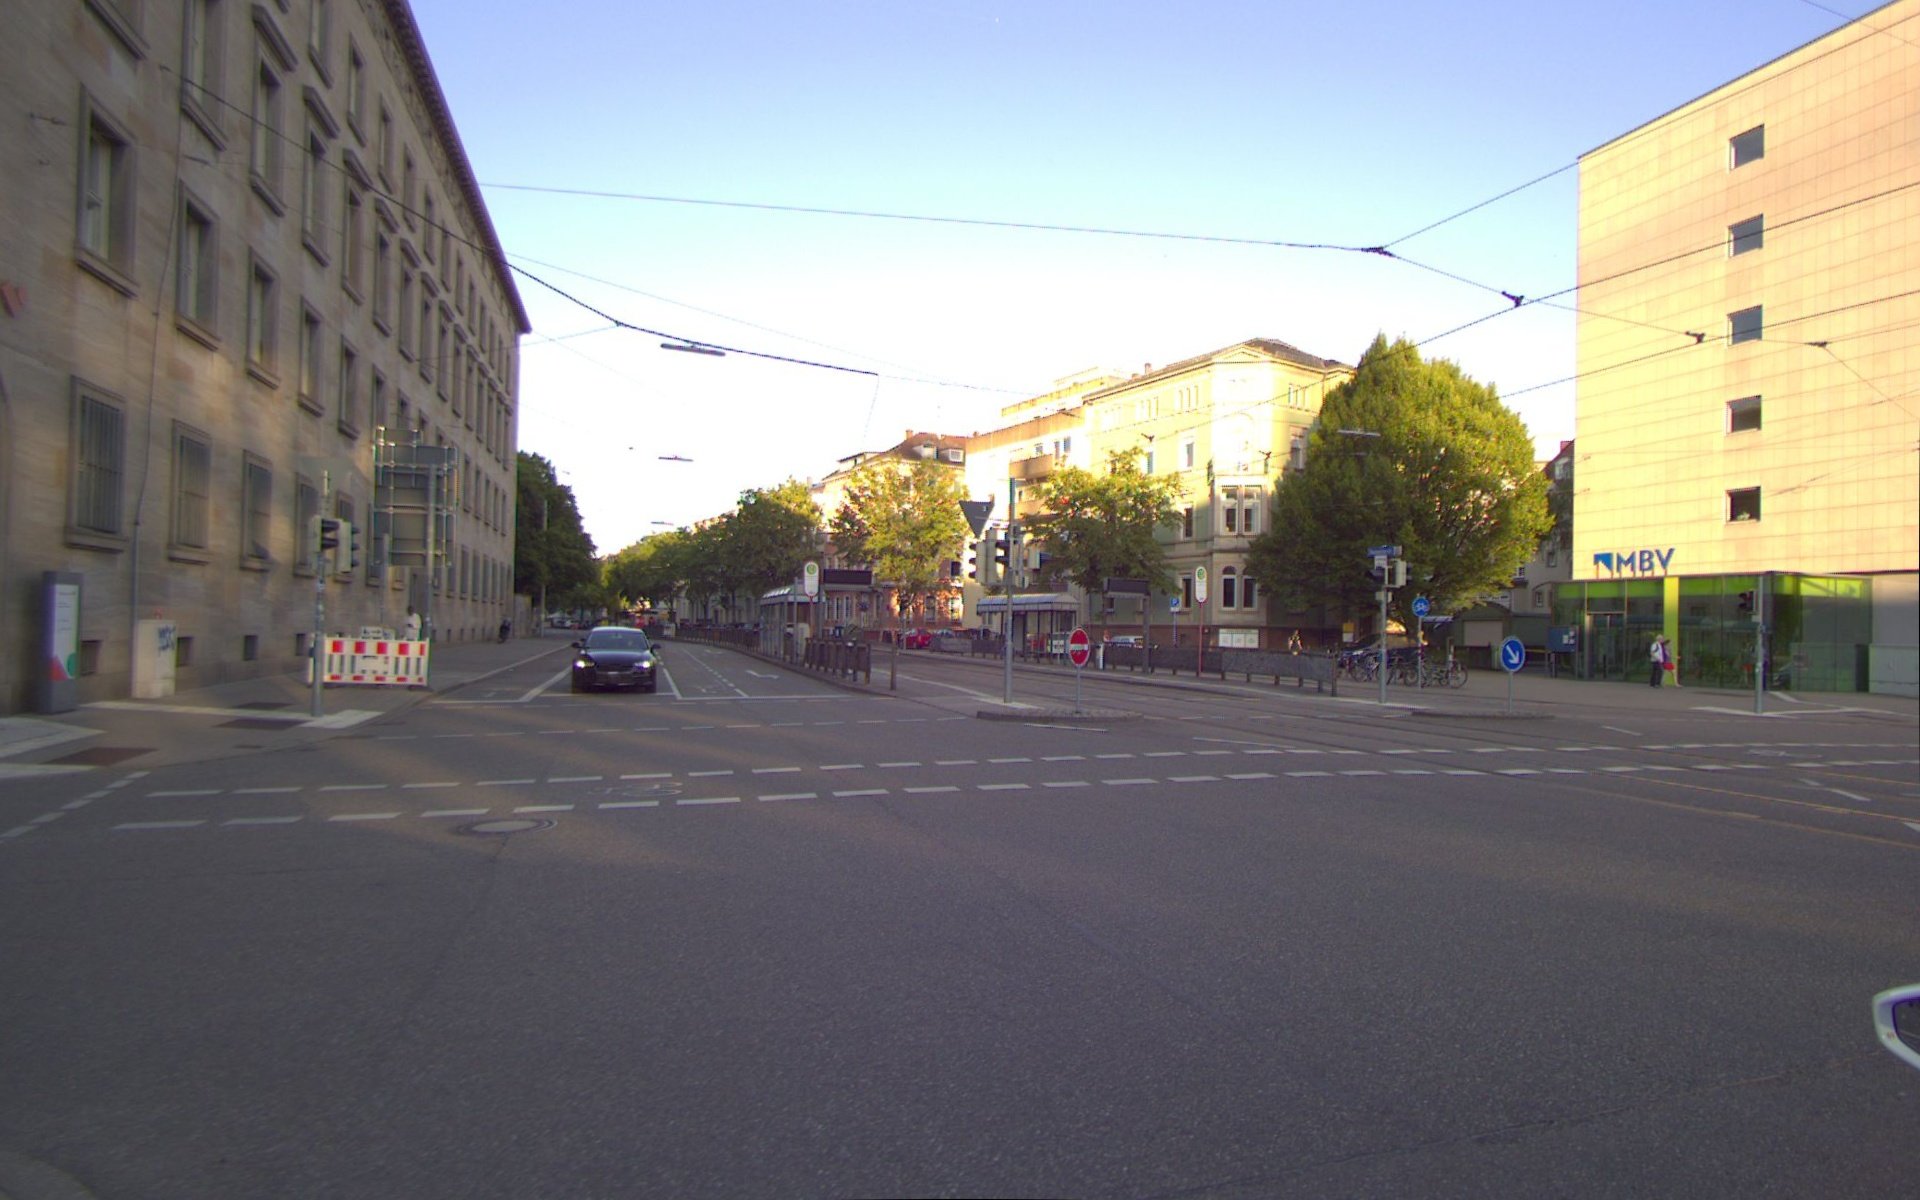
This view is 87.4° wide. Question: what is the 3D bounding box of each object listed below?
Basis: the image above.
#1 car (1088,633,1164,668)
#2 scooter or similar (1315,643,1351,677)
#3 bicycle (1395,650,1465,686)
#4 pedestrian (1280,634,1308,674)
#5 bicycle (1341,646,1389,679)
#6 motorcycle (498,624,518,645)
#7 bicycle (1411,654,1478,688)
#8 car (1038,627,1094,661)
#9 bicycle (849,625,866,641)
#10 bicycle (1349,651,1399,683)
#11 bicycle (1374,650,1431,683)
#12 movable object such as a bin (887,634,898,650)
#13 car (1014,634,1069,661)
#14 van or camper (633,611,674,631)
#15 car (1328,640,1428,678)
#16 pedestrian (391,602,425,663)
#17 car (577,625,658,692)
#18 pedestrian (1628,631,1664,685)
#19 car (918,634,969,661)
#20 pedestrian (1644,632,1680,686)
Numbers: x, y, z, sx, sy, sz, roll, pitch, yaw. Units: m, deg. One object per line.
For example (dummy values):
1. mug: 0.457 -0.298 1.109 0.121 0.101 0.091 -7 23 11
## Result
1. car: 8.302 2.515 50.509 1.665 1.573 3.970 -1 0 -29
2. scooter or similar: 14.270 2.288 38.428 1.184 1.241 0.589 0 -1 -18
3. bicycle: 15.812 2.274 33.795 2.201 1.147 0.741 1 -1 -17
4. pedestrian: 15.290 2.465 45.960 0.701 1.791 0.980 2 -2 -33
5. bicycle: 15.031 2.318 37.295 1.506 1.178 0.742 2 -2 -17
6. motorcycle: -25.243 1.916 56.114 0.689 1.089 2.643 1 -2 -18
7. bicycle: 15.774 2.304 32.700 1.829 1.089 0.744 0 -2 -1
8. car: 6.061 2.514 57.062 1.690 1.747 4.205 3 -1 27
9. bicycle: -8.762 2.812 85.752 0.590 1.283 1.917 0 -2 24
10. bicycle: 14.820 2.396 35.970 1.531 1.089 0.742 2 -2 -17
11. bicycle: 15.230 2.298 34.566 1.732 1.089 0.742 2 -2 -17
12. movable object such as a bin: -5.133 3.202 76.347 0.704 1.169 0.586 2 -2 -19
13. car: 4.823 2.803 59.097 1.616 1.473 4.204 0 -2 29
14. van or camper: -41.672 2.810 136.679 2.047 2.564 5.545 -1 0 24
15. car: 18.741 2.639 45.047 3.934 1.594 1.796 2 -2 -19
16. pedestrian: -16.123 0.952 29.363 0.686 1.732 0.644 2 -2 -15
17. car: -8.148 1.344 24.042 1.622 1.446 4.216 2 -2 -18
18. pedestrian: 22.969 1.928 33.647 0.697 1.791 0.732 2 -2 -18
19. car: -1.141 3.100 66.350 1.727 1.653 4.058 0 -1 -28
20. pedestrian: 23.645 1.967 33.834 0.697 1.791 0.744 2 -2 -18
